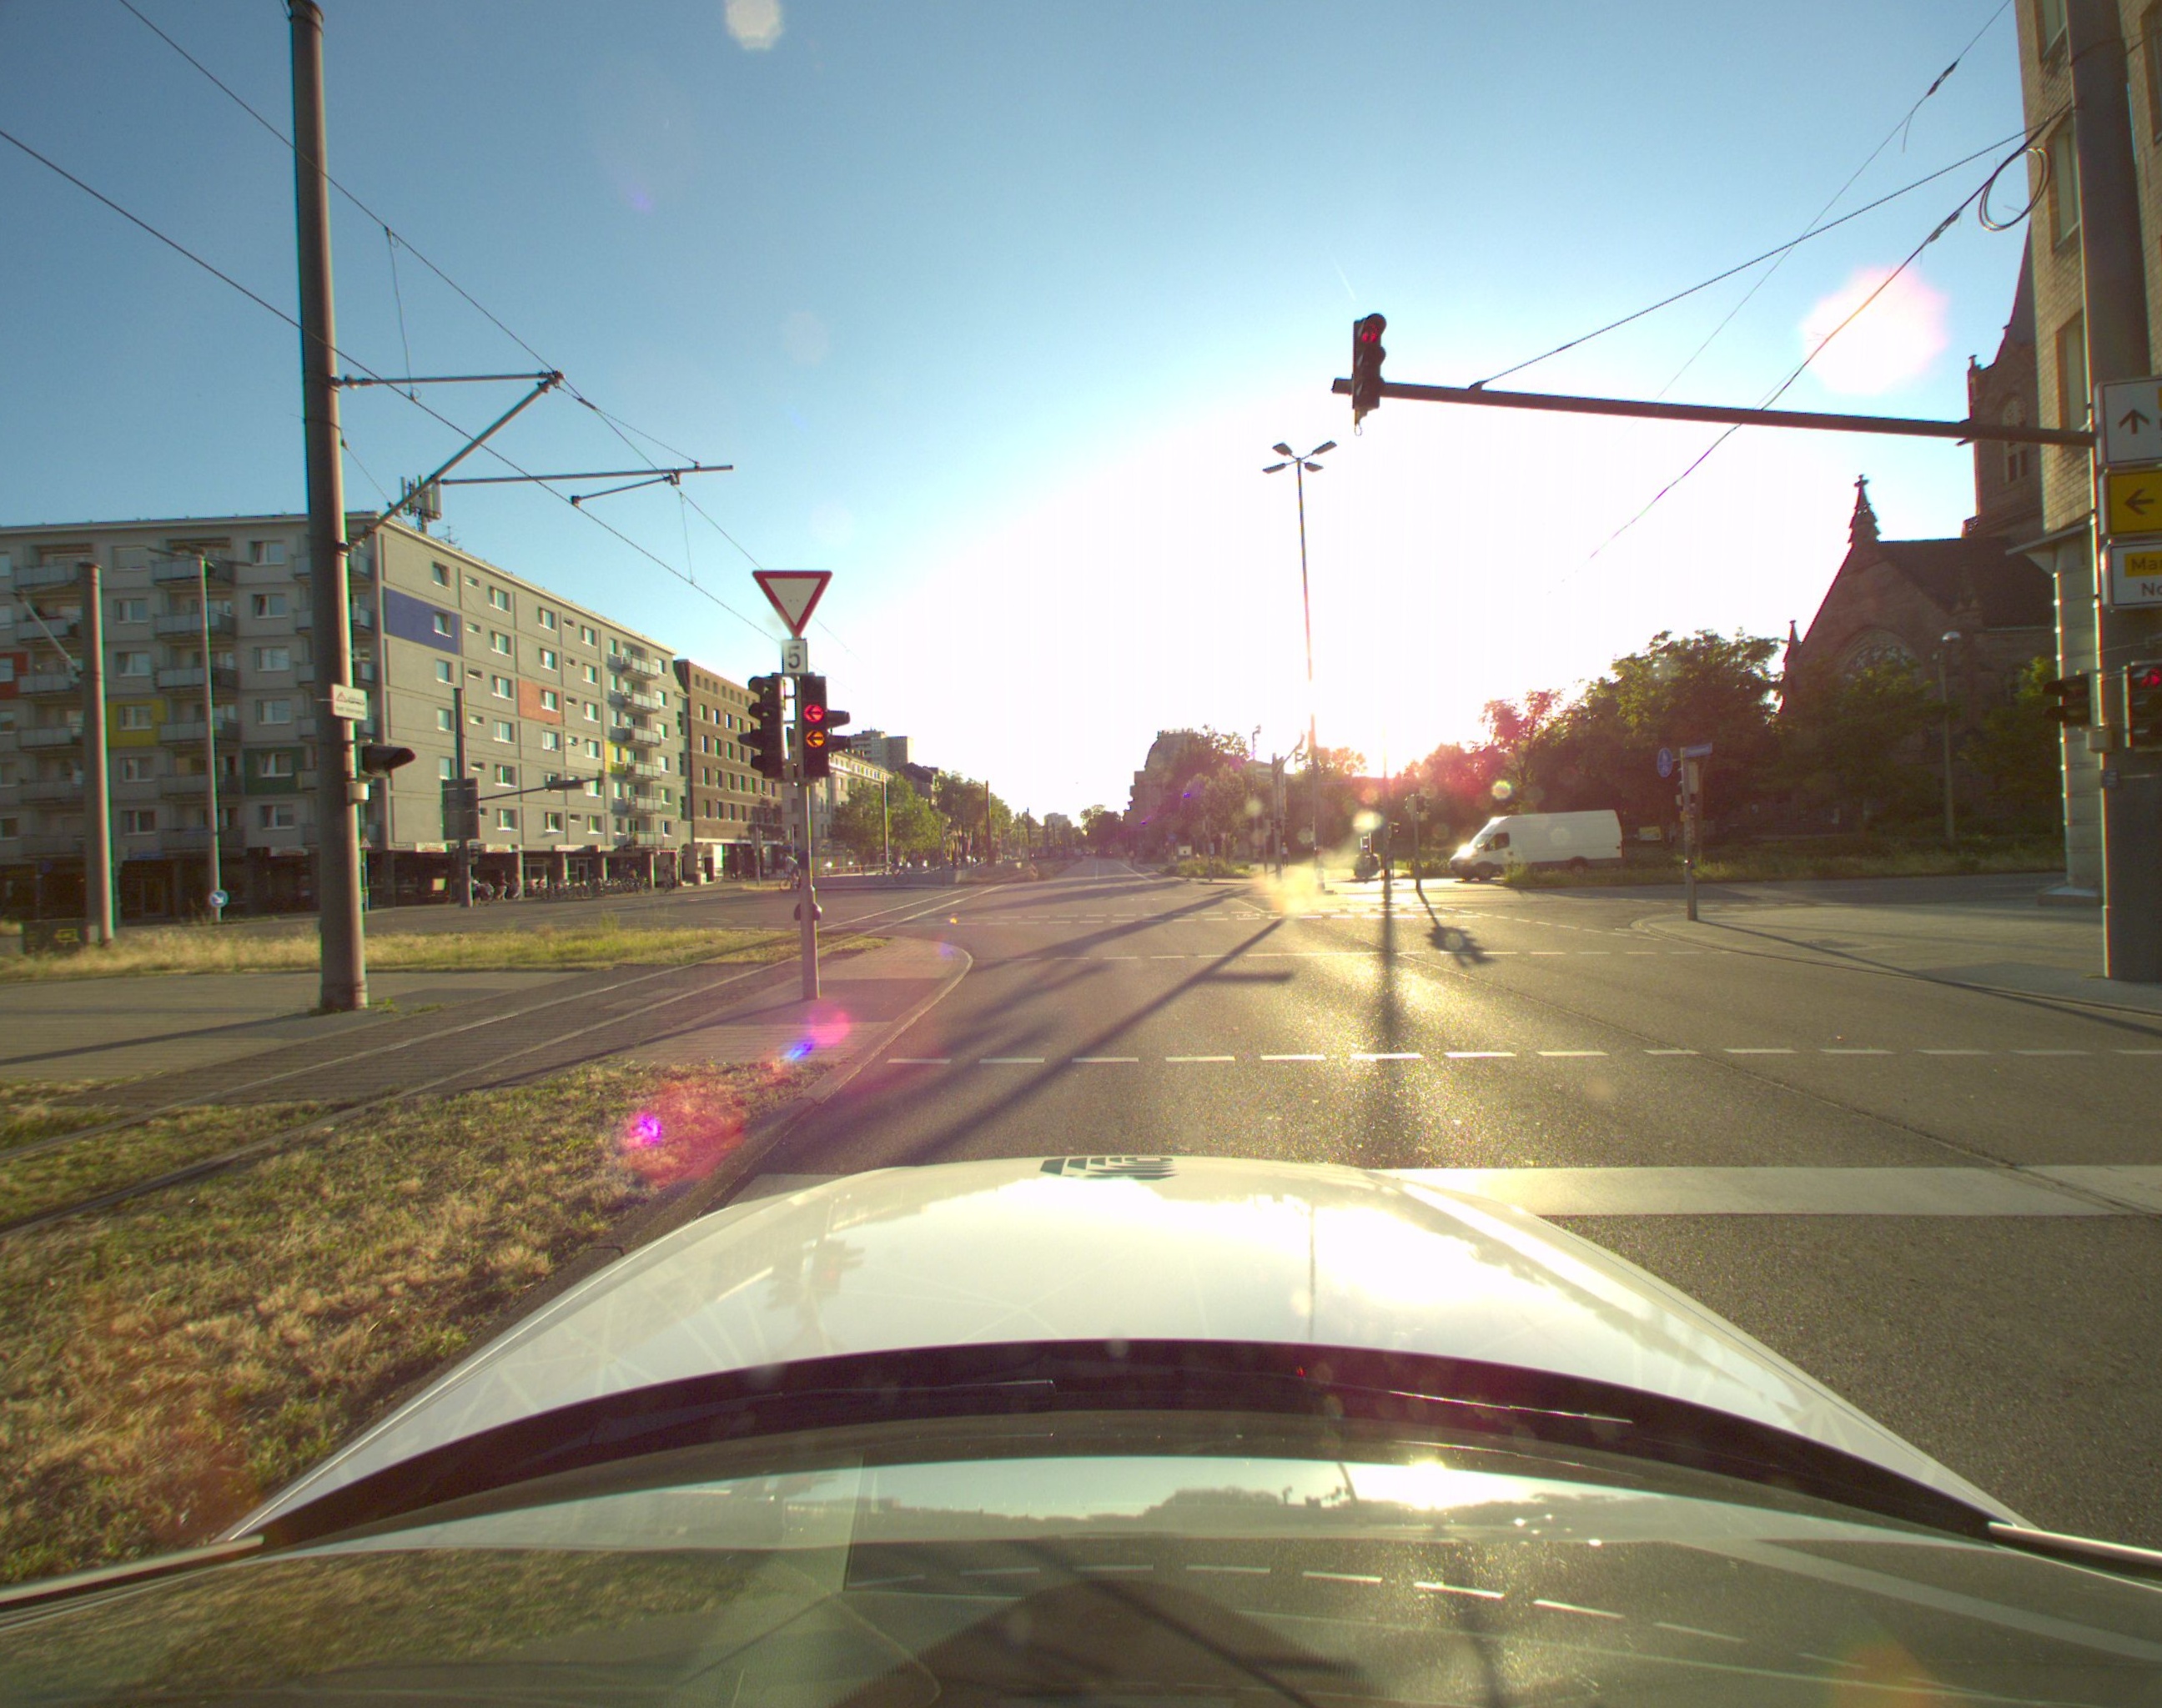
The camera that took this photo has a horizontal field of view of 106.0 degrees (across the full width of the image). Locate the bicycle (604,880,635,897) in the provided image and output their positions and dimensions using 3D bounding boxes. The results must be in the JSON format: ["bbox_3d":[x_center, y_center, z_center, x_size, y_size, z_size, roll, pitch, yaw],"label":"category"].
[{"bbox_3d":[-31.140,2.331,54.974,1.748,1.117,0.552,-2,0,2],"label":"bicycle"}]

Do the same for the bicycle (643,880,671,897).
[{"bbox_3d":[-30.793,2.493,59.141,1.683,1.144,0.697,-2,0,3],"label":"bicycle"}]

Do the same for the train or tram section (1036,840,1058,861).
[{"bbox_3d":[-7.171,-0.781,171.264,4.375,3.849,11.402,-2,2,-2],"label":"train or tram section"}]

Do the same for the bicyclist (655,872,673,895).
[{"bbox_3d":[-26.806,1.871,52.312,0.494,1.426,0.863,-2,0,28],"label":"bicyclist"}]

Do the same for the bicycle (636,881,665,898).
[{"bbox_3d":[-30.856,2.537,58.410,1.683,1.170,0.749,-2,0,3],"label":"bicycle"}]

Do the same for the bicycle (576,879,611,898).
[{"bbox_3d":[-31.794,2.253,53.109,1.824,1.160,0.640,-2,0,1],"label":"bicycle"}]

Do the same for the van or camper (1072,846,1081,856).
[{"bbox_3d":[-1.416,-0.785,241.931,2.441,2.770,5.600,-2,0,0],"label":"van or camper"}]

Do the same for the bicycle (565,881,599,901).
[{"bbox_3d":[-31.284,2.289,51.054,1.759,1.167,0.540,-2,0,2],"label":"bicycle"}]

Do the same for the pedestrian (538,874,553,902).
[{"bbox_3d":[-33.162,2.097,50.428,0.578,1.684,0.545,-2,0,-7],"label":"pedestrian"}]

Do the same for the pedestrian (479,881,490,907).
[{"bbox_3d":[-32.447,2.191,44.280,0.383,1.383,0.392,-2,0,-26],"label":"pedestrian"}]

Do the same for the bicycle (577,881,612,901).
[{"bbox_3d":[-31.245,2.347,52.301,1.782,1.191,0.652,-2,0,1],"label":"bicycle"}]

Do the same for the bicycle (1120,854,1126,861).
[{"bbox_3d":[7.307,0.571,142.604,0.921,1.111,2.334,-2,0,2],"label":"bicycle"}]

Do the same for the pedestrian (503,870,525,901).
[{"bbox_3d":[-34.986,1.925,50.252,0.785,1.841,0.733,-2,0,-7],"label":"pedestrian"}]

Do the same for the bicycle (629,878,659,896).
[{"bbox_3d":[-30.914,2.357,57.637,1.683,1.179,0.749,-2,0,3],"label":"bicycle"}]

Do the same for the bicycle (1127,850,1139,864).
[{"bbox_3d":[5.317,0.309,84.038,1.094,1.399,2.833,-2,0,2],"label":"bicycle"}]

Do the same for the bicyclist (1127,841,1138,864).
[{"bbox_3d":[5.301,-0.131,83.954,1.078,2.276,0.986,-2,0,1],"label":"bicyclist"}]

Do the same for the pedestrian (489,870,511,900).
[{"bbox_3d":[-35.951,1.927,50.397,0.826,1.812,0.718,-2,0,-9],"label":"pedestrian"}]

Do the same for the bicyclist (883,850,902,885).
[{"bbox_3d":[-9.846,0.712,42.606,0.875,1.818,0.536,-2,0,-8],"label":"bicyclist"}]

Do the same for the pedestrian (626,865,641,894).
[{"bbox_3d":[-34.407,1.989,62.627,0.599,2.178,0.792,-2,0,1],"label":"pedestrian"}]

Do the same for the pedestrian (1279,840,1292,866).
[{"bbox_3d":[15.069,-0.076,59.930,0.826,1.803,0.814,-2,0,17],"label":"pedestrian"}]

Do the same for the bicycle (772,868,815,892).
[{"bbox_3d":[-14.105,1.278,39.984,1.903,1.075,0.629,-2,0,-13],"label":"bicycle"}]

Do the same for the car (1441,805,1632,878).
[{"bbox_3d":[19.542,-0.528,35.198,6.981,2.827,2.095,-2,0,3],"label":"car"}]

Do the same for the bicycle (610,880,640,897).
[{"bbox_3d":[-31.108,2.350,55.560,1.754,1.119,0.568,-2,0,2],"label":"bicycle"}]

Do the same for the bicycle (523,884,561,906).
[{"bbox_3d":[-32.294,2.457,48.801,1.788,1.208,0.638,-2,0,0],"label":"bicycle"}]

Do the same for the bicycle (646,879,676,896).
[{"bbox_3d":[-26.887,2.141,52.144,0.503,0.944,1.678,-2,0,29],"label":"bicycle"}]

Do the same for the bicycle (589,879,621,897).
[{"bbox_3d":[-31.790,2.272,54.377,1.764,1.136,0.606,-2,0,2],"label":"bicycle"}]

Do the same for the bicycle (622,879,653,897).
[{"bbox_3d":[-30.969,2.366,56.878,1.683,1.153,0.706,-2,0,3],"label":"bicycle"}]

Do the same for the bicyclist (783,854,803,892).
[{"bbox_3d":[-14.136,0.907,39.979,0.793,1.818,0.643,-2,0,-12],"label":"bicyclist"}]

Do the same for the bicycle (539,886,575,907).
[{"bbox_3d":[-32.072,2.594,49.832,1.770,1.142,0.608,-2,0,1],"label":"bicycle"}]

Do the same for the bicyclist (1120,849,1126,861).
[{"bbox_3d":[7.303,0.131,142.644,0.922,2.013,0.851,-2,0,1],"label":"bicyclist"}]

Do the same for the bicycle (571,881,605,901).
[{"bbox_3d":[-31.266,2.347,51.657,1.762,1.182,0.568,-2,0,1],"label":"bicycle"}]

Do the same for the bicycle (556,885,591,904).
[{"bbox_3d":[-31.466,2.503,50.481,1.750,1.139,0.600,-2,0,2],"label":"bicycle"}]

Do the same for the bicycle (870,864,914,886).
[{"bbox_3d":[-9.859,1.105,42.610,2.162,1.083,0.537,-1,-1,-8],"label":"bicycle"}]

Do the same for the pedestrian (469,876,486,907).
[{"bbox_3d":[-32.347,2.018,43.654,0.575,1.620,0.598,-2,0,-29],"label":"pedestrian"}]

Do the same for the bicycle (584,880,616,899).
[{"bbox_3d":[-31.735,2.345,53.746,1.769,1.159,0.606,-2,0,1],"label":"bicycle"}]

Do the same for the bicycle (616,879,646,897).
[{"bbox_3d":[-31.046,2.354,56.193,1.719,1.124,0.634,-2,-1,3],"label":"bicycle"}]
